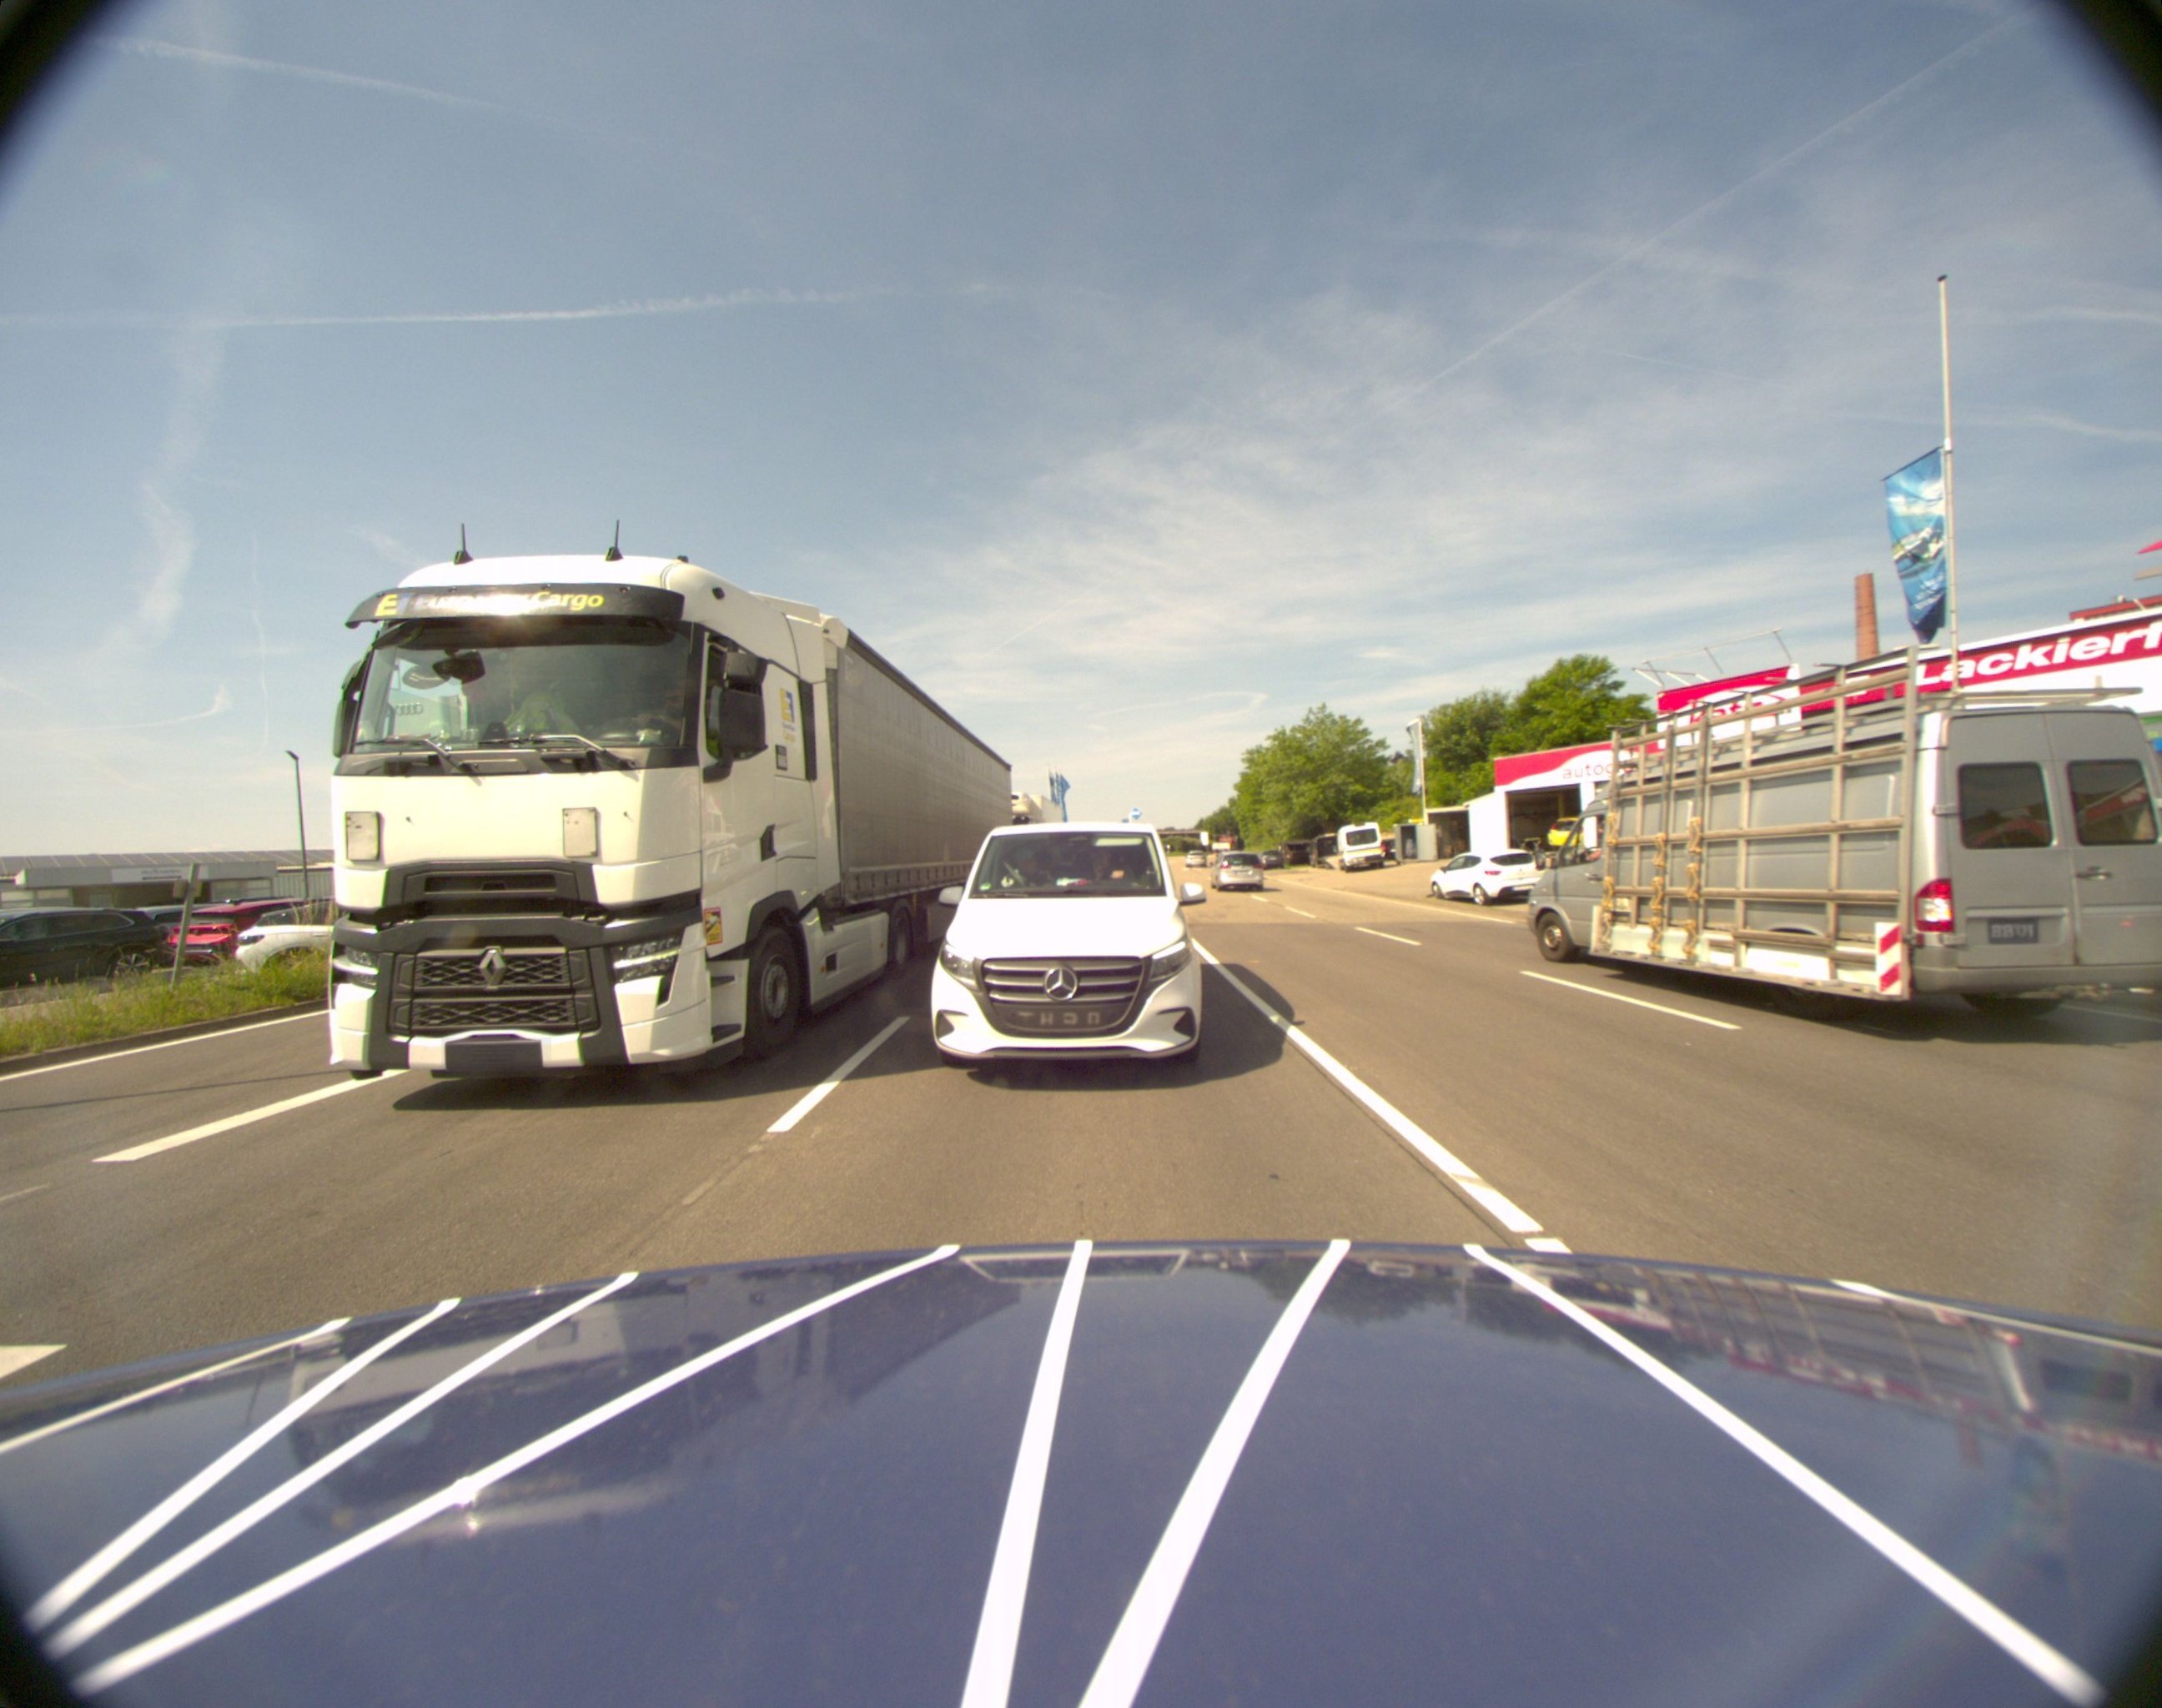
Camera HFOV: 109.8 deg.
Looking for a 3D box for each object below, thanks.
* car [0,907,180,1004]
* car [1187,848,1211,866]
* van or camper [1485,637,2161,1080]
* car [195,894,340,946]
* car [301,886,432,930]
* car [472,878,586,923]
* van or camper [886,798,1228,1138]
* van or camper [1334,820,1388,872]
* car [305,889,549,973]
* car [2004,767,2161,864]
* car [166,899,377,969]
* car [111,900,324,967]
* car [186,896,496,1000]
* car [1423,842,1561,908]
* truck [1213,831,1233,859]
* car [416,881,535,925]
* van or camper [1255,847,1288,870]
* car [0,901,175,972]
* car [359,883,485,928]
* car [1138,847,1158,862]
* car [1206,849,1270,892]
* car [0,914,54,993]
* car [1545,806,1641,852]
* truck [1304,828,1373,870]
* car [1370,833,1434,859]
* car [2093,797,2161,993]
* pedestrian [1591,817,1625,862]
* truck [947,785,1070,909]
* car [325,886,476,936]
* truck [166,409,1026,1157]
[{"bbox_3d":[-21.394,2.057,14.952,1.998,1.647,4.283,-3,0,5],"label":"car"},{"bbox_3d":[10.706,0.227,69.092,1.913,1.512,4.783,-2,0,6],"label":"car"},{"bbox_3d":[6.996,0.023,8.198,2.213,3.038,5.902,-1,0,1],"label":"van or camper"},{"bbox_3d":[-30.154,2.423,28.241,3.648,1.641,1.755,-3,1,6],"label":"car"},{"bbox_3d":[-30.664,2.277,32.773,1.789,1.565,4.000,-2,0,1],"label":"car"},{"bbox_3d":[-23.095,1.906,31.992,1.789,1.565,4.000,-2,0,1],"label":"car"},{"bbox_3d":[-0.024,0.700,7.267,1.998,2.002,5.291,-3,0,3],"label":"van or camper"},{"bbox_3d":[15.622,-0.478,42.679,2.157,2.484,5.956,-6,0,15],"label":"van or camper"},{"bbox_3d":[-14.067,1.610,16.643,3.668,1.394,1.735,-3,0,-25],"label":"car"},{"bbox_3d":[20.760,-0.768,14.421,1.706,1.749,3.754,-6,2,-24],"label":"car"},{"bbox_3d":[-21.004,2.010,19.945,1.562,1.401,3.596,-1,1,3],"label":"car"},{"bbox_3d":[-23.305,2.092,20.718,1.562,1.401,3.596,-1,1,3],"label":"car"},{"bbox_3d":[-13.290,1.624,13.978,3.668,1.394,1.735,-3,0,-25],"label":"car"},{"bbox_3d":[11.375,0.506,21.363,1.783,1.608,4.000,-3,1,2],"label":"car"},{"bbox_3d":[22.475,-1.393,120.054,2.961,4.184,10.655,0,0,11],"label":"truck"},{"bbox_3d":[-25.542,2.017,32.254,1.789,1.565,4.000,-2,0,1],"label":"car"},{"bbox_3d":[14.016,0.271,56.133,1.643,1.515,4.469,-3,1,6],"label":"van or camper"},{"bbox_3d":[-28.646,2.273,21.194,1.707,1.608,3.971,-2,0,6],"label":"car"},{"bbox_3d":[-28.001,2.150,32.473,1.789,1.565,4.000,-2,0,1],"label":"car"},{"bbox_3d":[6.977,0.043,79.208,1.810,1.551,4.387,-1,0,2],"label":"car"},{"bbox_3d":[6.462,0.647,31.707,1.914,1.653,4.180,-1,0,1],"label":"car"},{"bbox_3d":[-23.877,2.180,14.985,1.856,1.608,3.828,-3,0,5],"label":"car"},{"bbox_3d":[23.193,-1.116,34.414,3.674,1.715,1.736,-6,2,-21],"label":"car"},{"bbox_3d":[16.913,-0.383,50.494,2.335,2.283,8.806,-7,0,7],"label":"truck"},{"bbox_3d":[21.049,-0.495,49.840,3.674,1.521,1.736,-3,1,-22],"label":"car"},{"bbox_3d":[11.482,0.191,6.213,3.895,1.707,1.806,-6,1,0],"label":"car"},{"bbox_3d":[21.293,-0.590,30.720,0.724,1.752,0.895,-3,1,4],"label":"pedestrian"},{"bbox_3d":[-2.353,-0.268,29.359,2.886,3.789,11.143,-2,0,4],"label":"truck"},{"bbox_3d":[-25.046,2.089,28.044,3.996,1.565,1.790,-2,0,3],"label":"car"},{"bbox_3d":[-3.448,-0.438,12.771,2.897,4.241,16.710,-2,0,3],"label":"truck"}]
